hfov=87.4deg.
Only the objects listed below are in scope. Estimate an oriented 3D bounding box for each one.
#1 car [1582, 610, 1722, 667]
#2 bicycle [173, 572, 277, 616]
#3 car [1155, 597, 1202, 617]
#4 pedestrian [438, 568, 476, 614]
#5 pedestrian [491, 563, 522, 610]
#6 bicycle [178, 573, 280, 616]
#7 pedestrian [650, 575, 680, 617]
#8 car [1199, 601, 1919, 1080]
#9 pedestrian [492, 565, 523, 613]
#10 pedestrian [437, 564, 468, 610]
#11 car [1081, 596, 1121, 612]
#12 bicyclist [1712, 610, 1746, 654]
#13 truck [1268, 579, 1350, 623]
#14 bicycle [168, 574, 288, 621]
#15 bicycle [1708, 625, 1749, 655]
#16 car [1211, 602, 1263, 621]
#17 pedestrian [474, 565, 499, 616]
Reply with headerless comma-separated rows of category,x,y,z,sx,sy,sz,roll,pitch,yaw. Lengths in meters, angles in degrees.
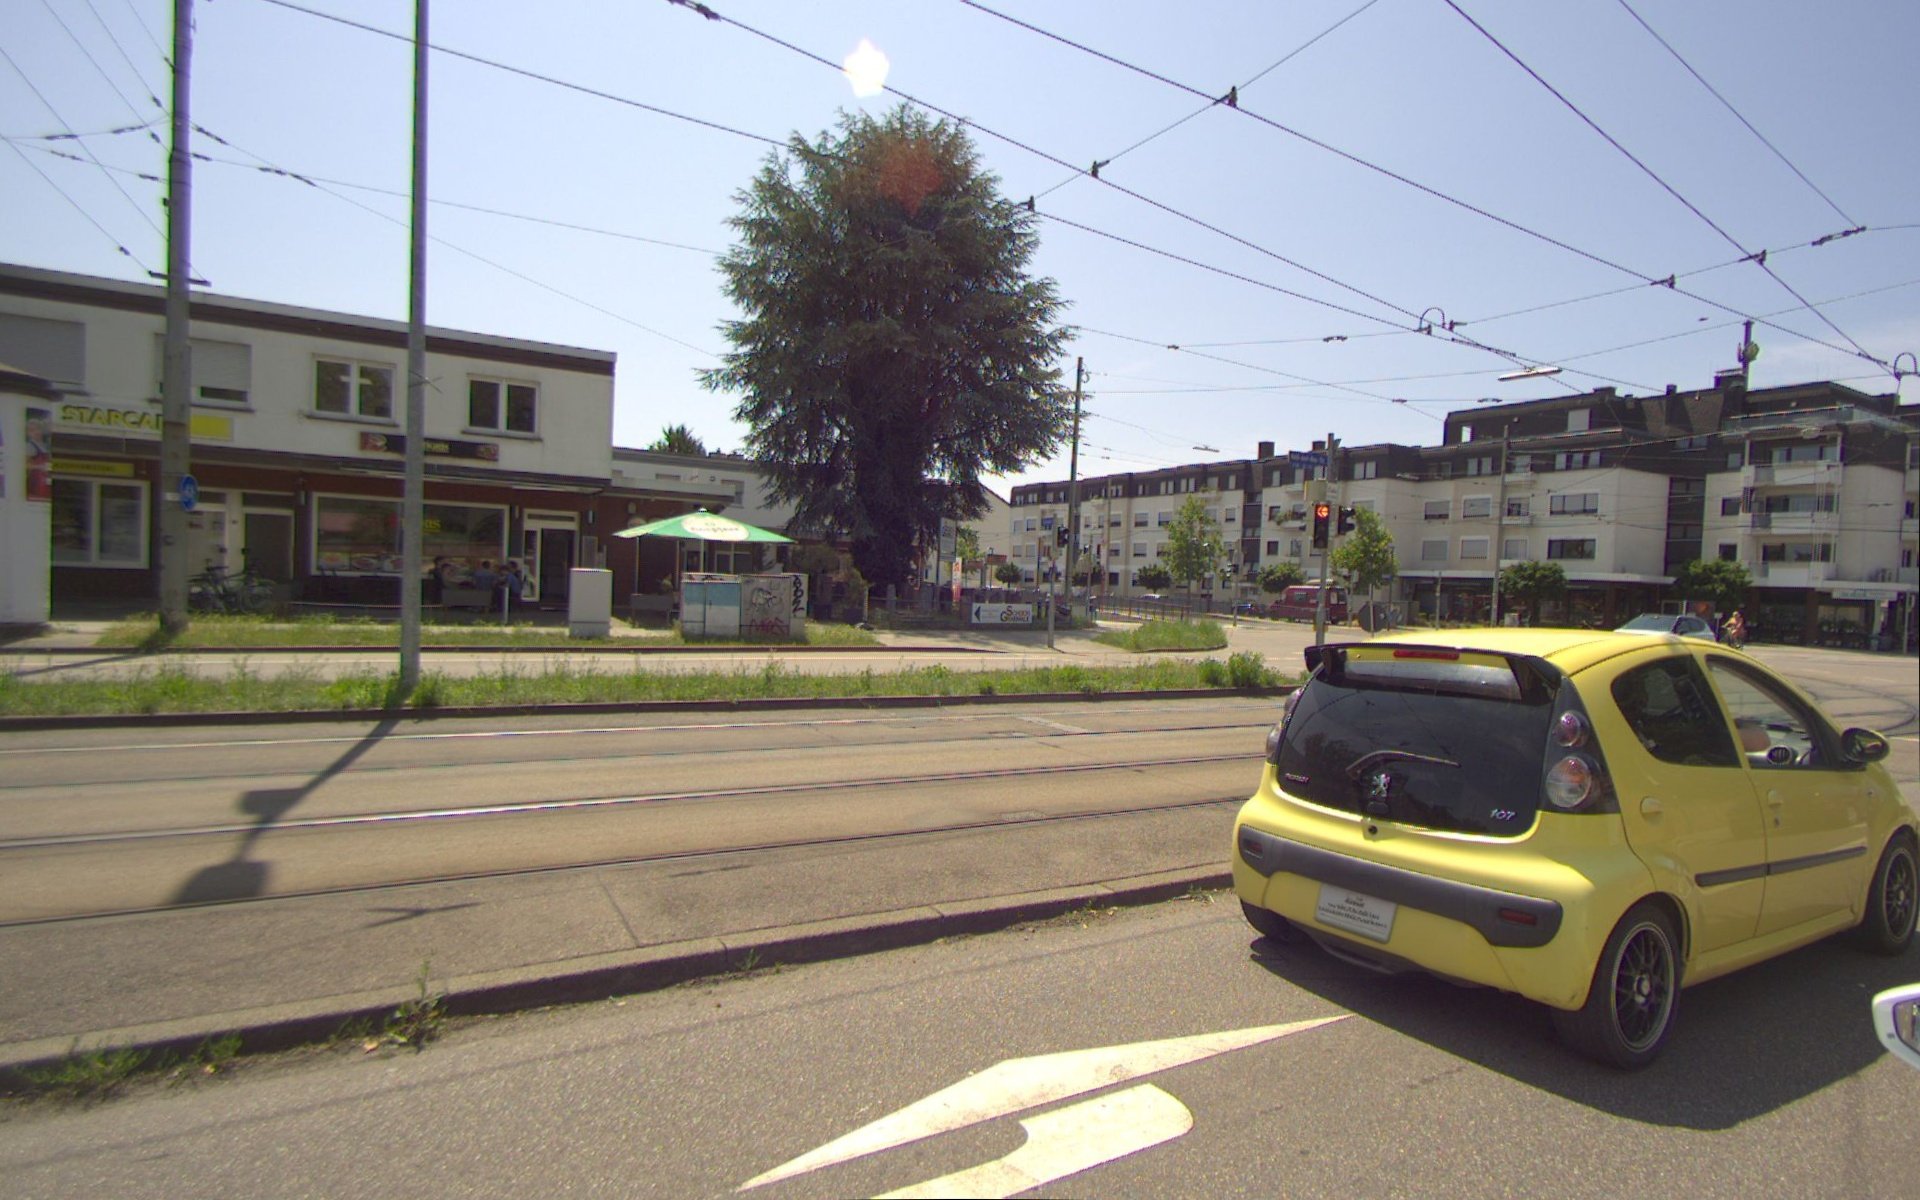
car,21.511,1.199,31.224,4.090,1.573,1.984,2,1,-30
bicycle,-15.928,-0.117,21.819,1.767,0.859,0.525,2,3,-31
car,17.020,0.544,78.407,1.571,1.452,3.553,2,1,-29
pedestrian,-12.850,-0.239,25.651,0.801,1.142,0.561,2,1,-30
pedestrian,-12.059,-0.363,26.720,0.666,1.225,0.515,2,1,-30
bicycle,-16.202,-0.125,22.310,1.767,0.859,0.525,2,3,-31
pedestrian,-8.231,-0.103,28.036,0.666,1.142,0.515,2,1,-30
car,3.014,0.794,4.663,3.614,1.440,1.608,2,-2,-31
pedestrian,-11.791,-0.287,26.190,0.666,1.215,0.515,2,1,-30
pedestrian,-13.259,-0.341,26.253,0.666,1.179,0.515,2,1,-30
car,12.159,0.340,86.958,1.571,1.257,3.553,2,1,-29
bicyclist,32.075,1.336,41.901,1.124,1.789,0.691,1,2,-31
truck,23.403,0.024,67.561,2.161,2.734,5.003,2,1,-29
bicycle,-15.134,-0.044,20.839,1.936,0.859,0.599,2,3,-31
bicycle,32.093,1.653,41.938,1.909,1.164,0.691,1,2,-31
car,19.964,0.826,72.554,1.571,1.235,3.553,2,1,-29
pedestrian,-11.971,-0.240,25.400,0.485,1.255,0.572,2,1,-30
